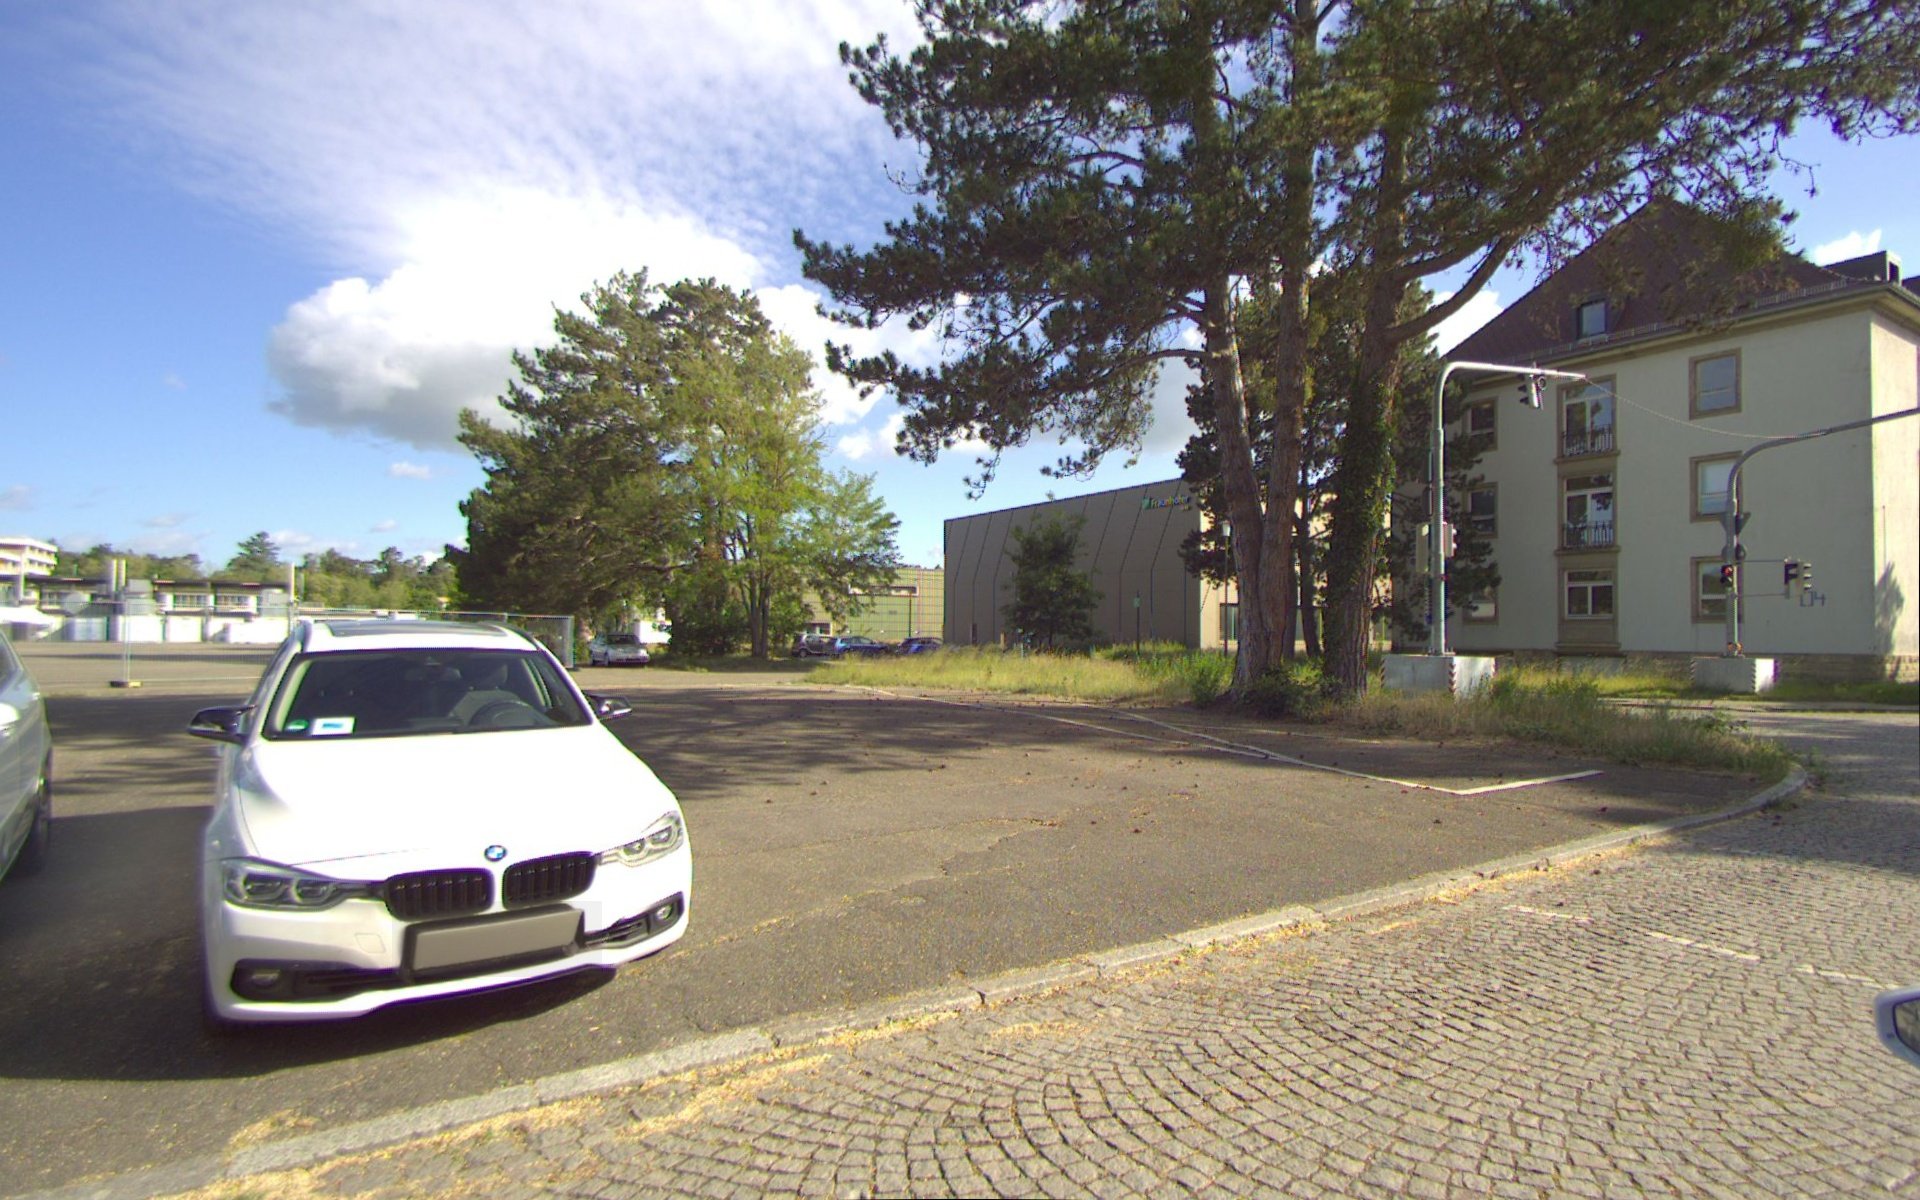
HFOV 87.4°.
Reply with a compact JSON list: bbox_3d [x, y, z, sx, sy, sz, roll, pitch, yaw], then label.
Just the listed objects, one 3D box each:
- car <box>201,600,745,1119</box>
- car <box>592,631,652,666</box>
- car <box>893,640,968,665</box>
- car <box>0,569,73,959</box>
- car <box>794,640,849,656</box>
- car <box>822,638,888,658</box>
[{"bbox_3d":[-2.866,0.811,5.425,1.735,1.487,4.511,1,1,-34],"label":"car"},{"bbox_3d":[-14.186,2.018,42.056,1.727,1.388,3.594,2,-2,-30],"label":"car"},{"bbox_3d":[-1.660,2.943,56.478,4.003,1.311,1.480,2,-2,-31],"label":"car"},{"bbox_3d":[-4.865,0.677,3.926,1.706,1.647,3.915,2,0,-36],"label":"car"},{"bbox_3d":[-9.744,3.410,70.800,3.635,1.090,1.399,2,-2,-30],"label":"car"},{"bbox_3d":[-6.705,3.082,64.296,3.952,1.221,1.480,2,-2,-30],"label":"car"}]
